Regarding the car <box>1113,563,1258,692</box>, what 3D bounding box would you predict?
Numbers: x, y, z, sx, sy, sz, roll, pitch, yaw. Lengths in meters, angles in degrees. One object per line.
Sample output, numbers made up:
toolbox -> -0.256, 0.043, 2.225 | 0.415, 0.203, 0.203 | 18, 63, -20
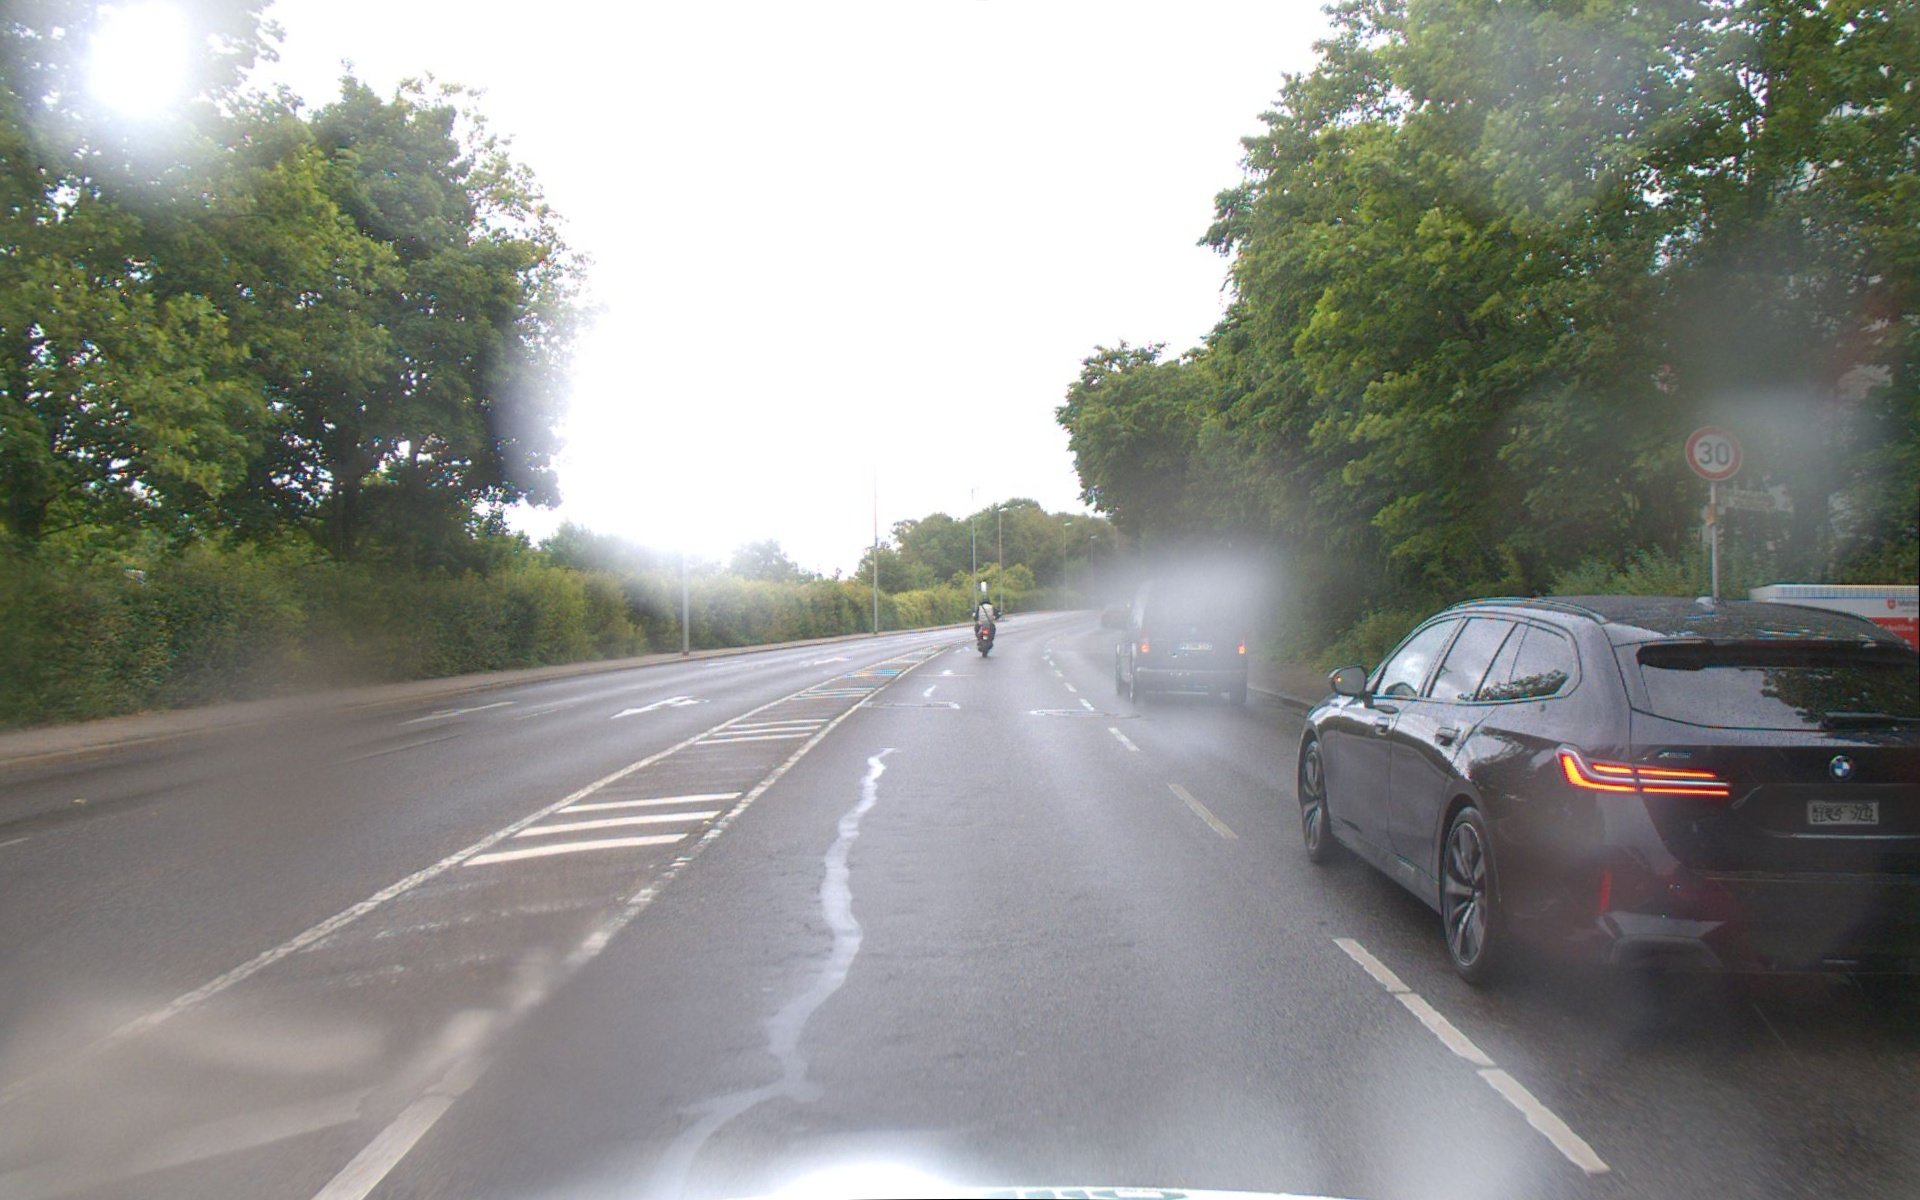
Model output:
car -> 3.418, 0.348, 25.693 | 1.730, 1.841, 3.906 | 0, 1, 0

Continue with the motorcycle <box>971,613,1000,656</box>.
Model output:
motorcycle -> 0.722, 0.960, 46.118 | 0.726, 1.139, 1.427 | 0, 1, 4

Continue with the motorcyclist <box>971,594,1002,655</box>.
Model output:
motorcyclist -> 0.730, 0.675, 46.049 | 0.827, 1.676, 0.468 | 0, 1, 3

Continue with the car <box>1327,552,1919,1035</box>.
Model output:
car -> 2.866, 0.613, 7.208 | 1.728, 1.563, 3.673 | 0, 0, 0

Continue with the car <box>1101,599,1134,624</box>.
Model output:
car -> 10.107, 0.740, 106.102 | 1.972, 1.440, 4.490 | 0, 2, 7
